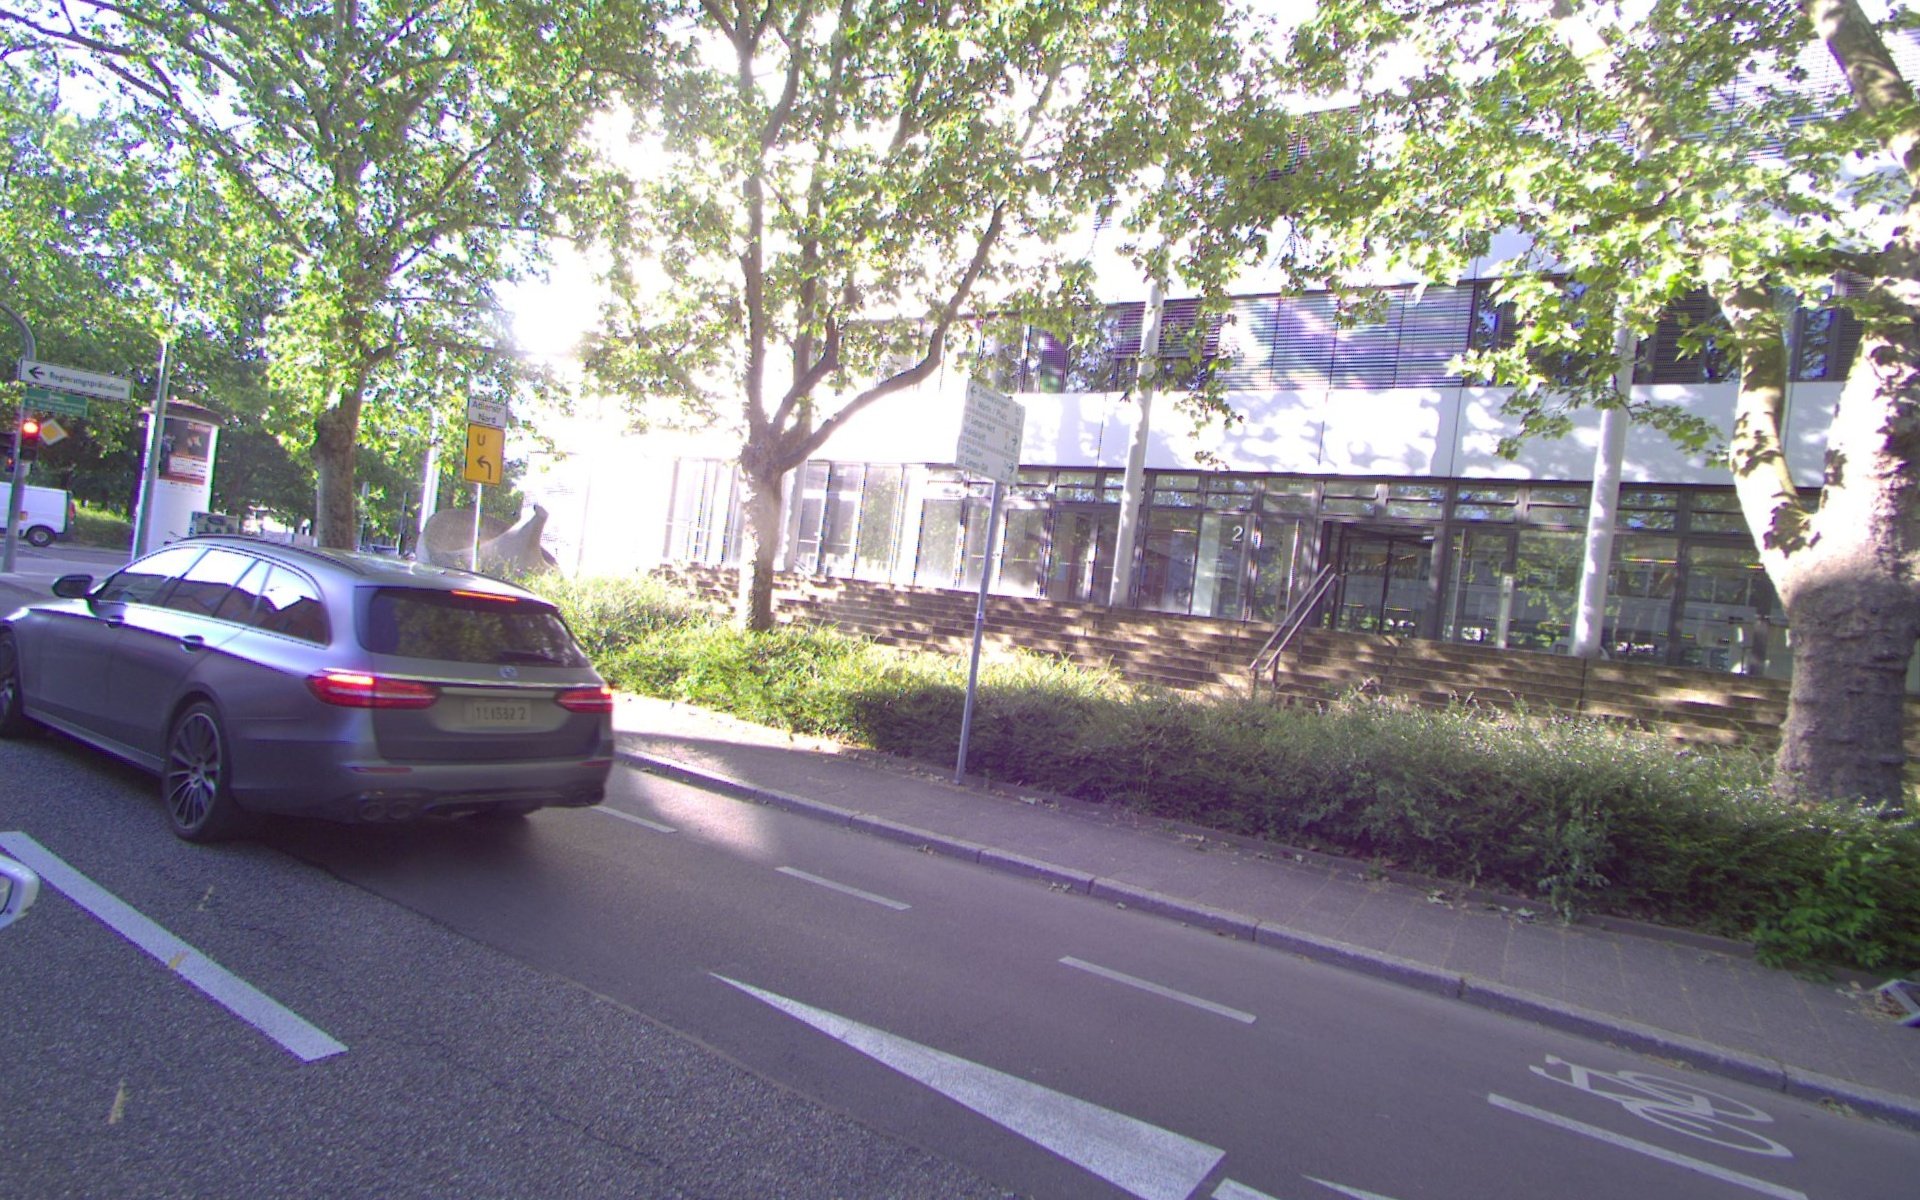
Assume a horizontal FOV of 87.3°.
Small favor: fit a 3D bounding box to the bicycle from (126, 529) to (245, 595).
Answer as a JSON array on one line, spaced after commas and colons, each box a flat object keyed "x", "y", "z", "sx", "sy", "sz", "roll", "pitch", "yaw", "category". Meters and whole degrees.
[{"x": -16.061, "y": -0.776, "z": 20.916, "sx": 0.502, "sy": 1.110, "sz": 1.806, "roll": 7, "pitch": -1, "yaw": 34, "category": "bicycle"}]

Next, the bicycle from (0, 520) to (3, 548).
[{"x": -27.896, "y": -1.921, "z": 27.845, "sx": 0.714, "sy": 0.893, "sz": 1.894, "roll": 7, "pitch": -1, "yaw": 35, "category": "bicycle"}]

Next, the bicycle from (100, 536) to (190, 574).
[{"x": -24.717, "y": -1.364, "z": 30.543, "sx": 0.666, "sy": 0.846, "sz": 1.976, "roll": 7, "pitch": -1, "yaw": 35, "category": "bicycle"}]

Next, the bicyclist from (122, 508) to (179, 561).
[{"x": -24.613, "y": -1.979, "z": 30.589, "sx": 0.647, "sy": 1.419, "sz": 1.104, "roll": 7, "pitch": -1, "yaw": 34, "category": "bicyclist"}]

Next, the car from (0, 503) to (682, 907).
[{"x": -4.120, "y": 0.404, "z": 6.170, "sx": 4.592, "sy": 1.481, "sz": 1.917, "roll": 7, "pitch": -2, "yaw": 32, "category": "car"}]

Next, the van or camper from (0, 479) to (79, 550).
[{"x": -31.373, "y": -2.947, "z": 32.205, "sx": 4.568, "sy": 1.964, "sz": 1.975, "roll": 9, "pitch": -2, "yaw": -44, "category": "van or camper"}]
